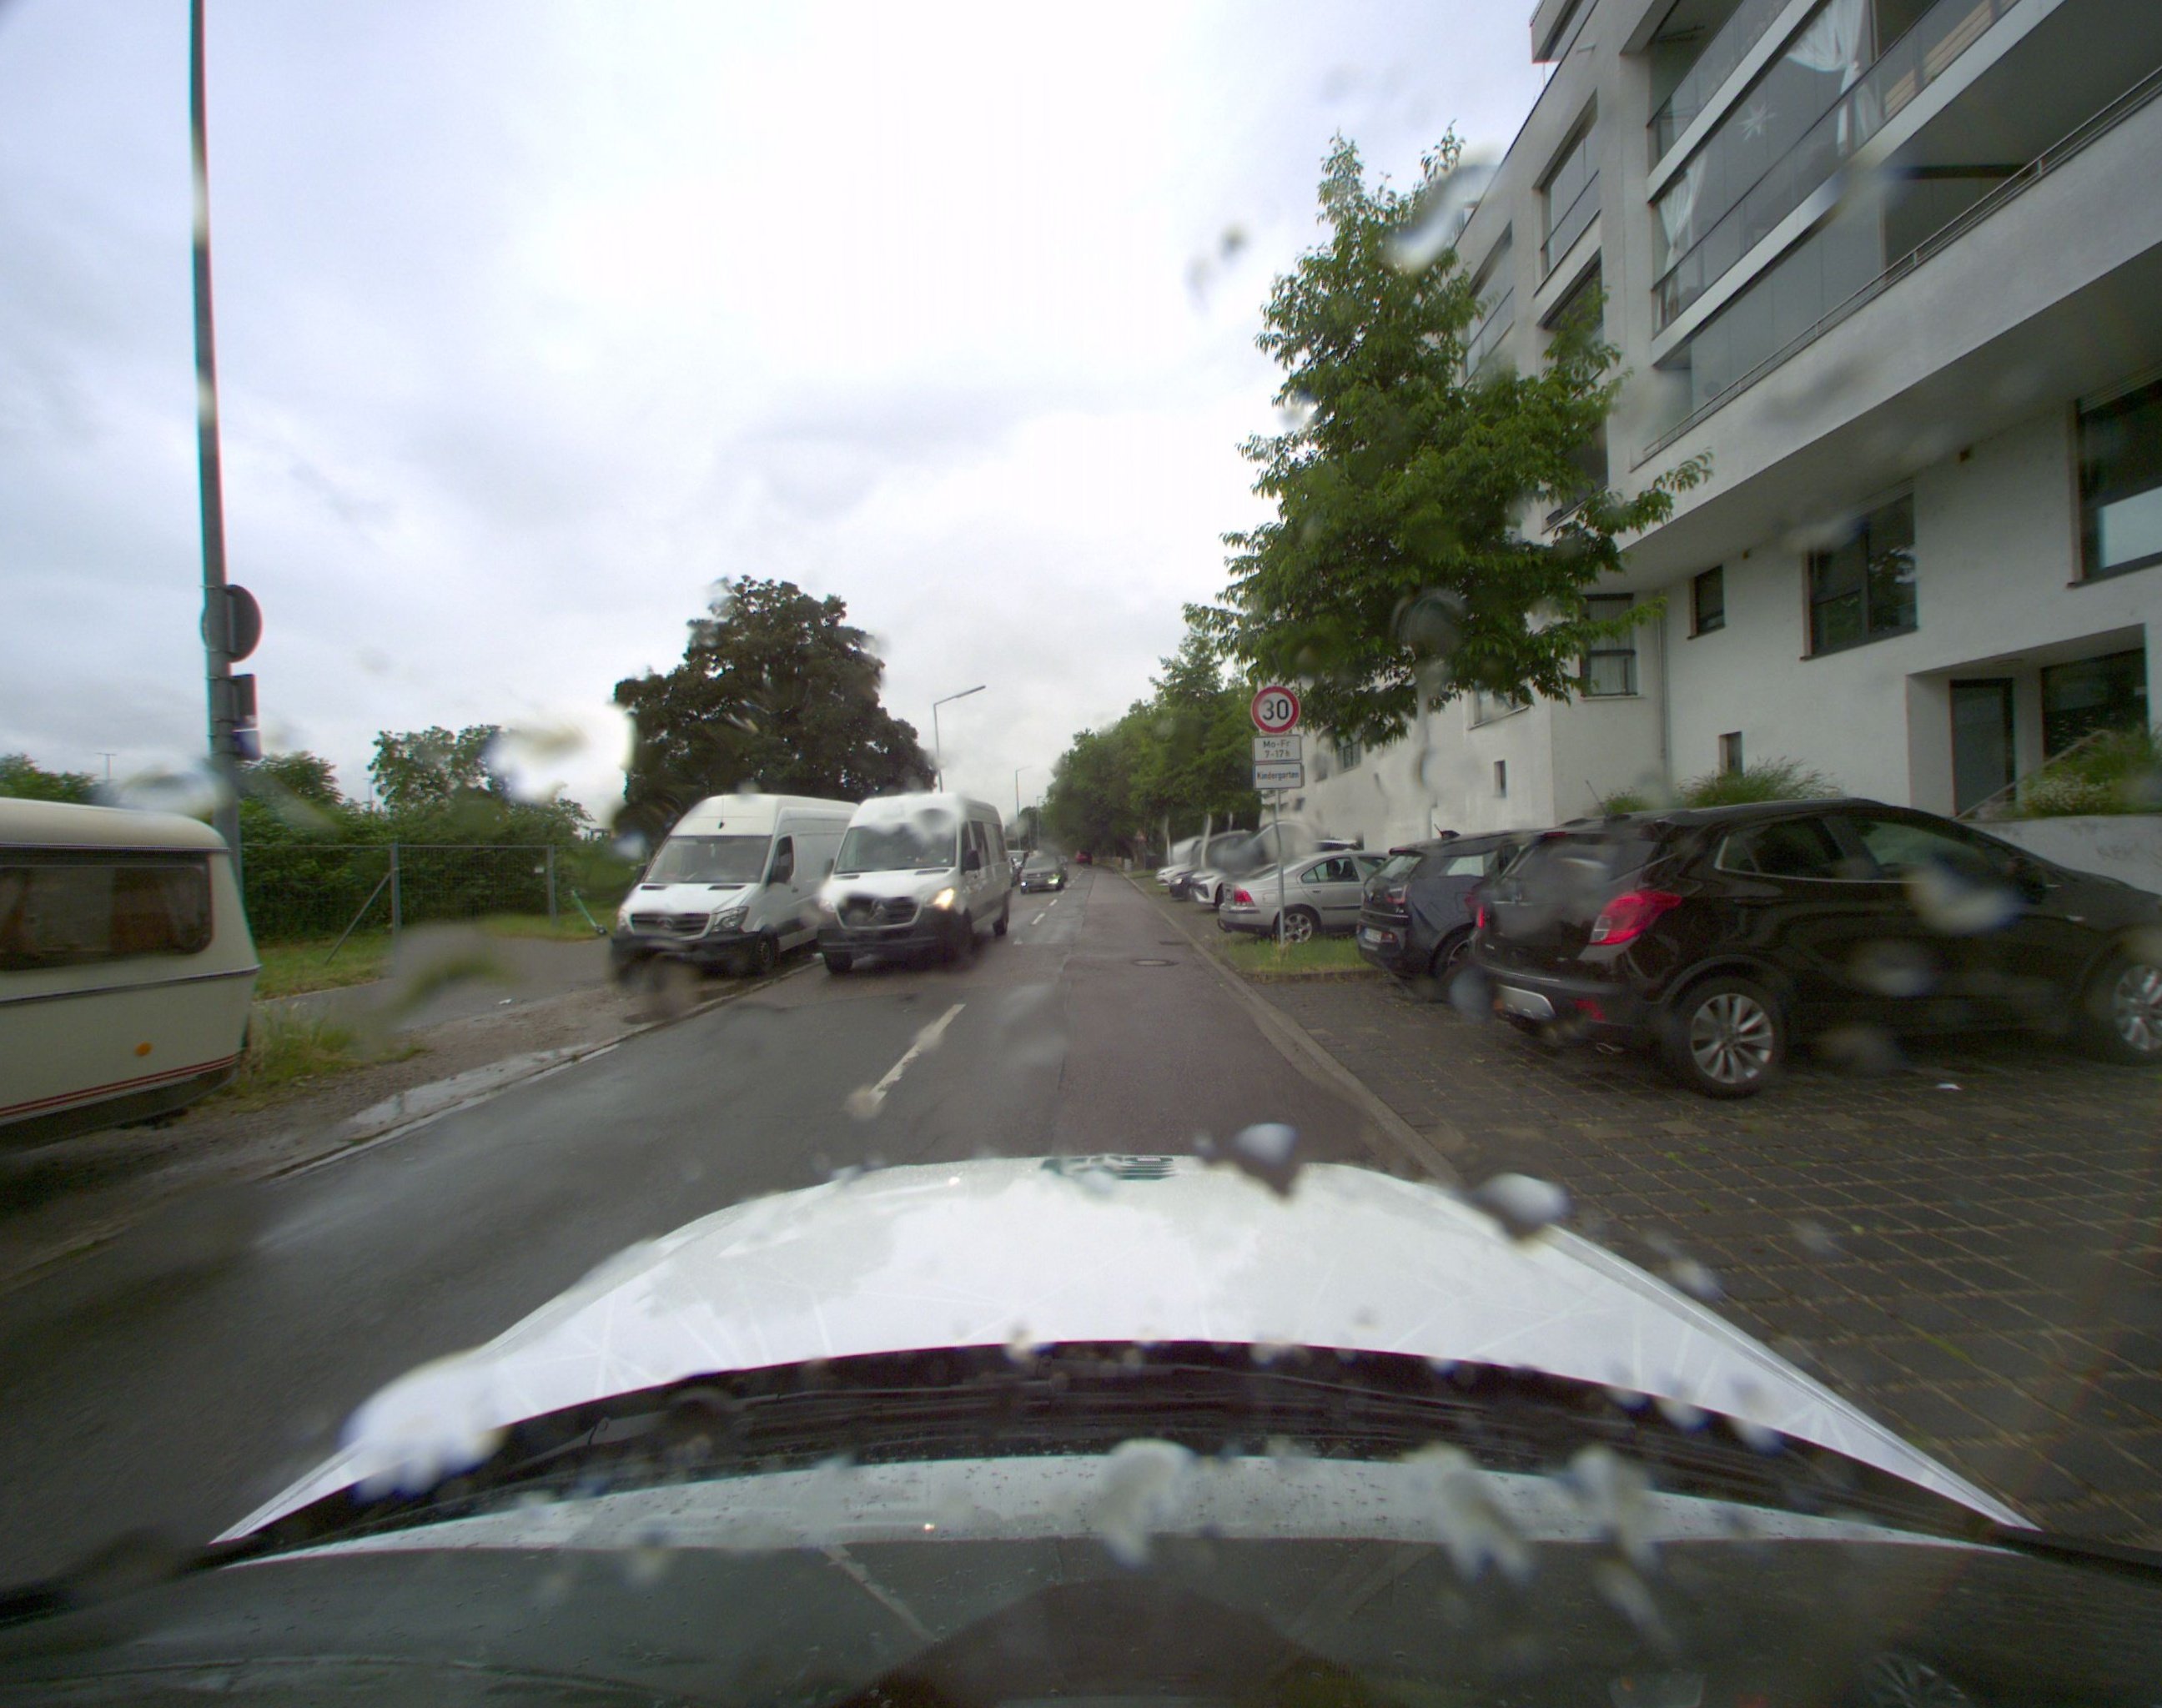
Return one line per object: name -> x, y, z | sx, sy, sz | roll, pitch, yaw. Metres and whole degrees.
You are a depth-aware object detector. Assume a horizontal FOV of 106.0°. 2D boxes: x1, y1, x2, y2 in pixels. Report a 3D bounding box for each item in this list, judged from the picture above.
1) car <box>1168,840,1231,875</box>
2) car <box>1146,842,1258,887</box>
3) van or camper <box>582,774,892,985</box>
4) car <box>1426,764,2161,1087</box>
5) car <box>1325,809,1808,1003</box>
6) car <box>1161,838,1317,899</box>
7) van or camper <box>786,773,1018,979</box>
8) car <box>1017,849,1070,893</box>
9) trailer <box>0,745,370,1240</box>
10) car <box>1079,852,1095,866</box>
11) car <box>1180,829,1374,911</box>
car -> 8.104, 0.249, 55.671 | 3.952, 2.292, 1.786 | -1, 0, 21
car -> 4.834, 0.401, 32.799 | 4.086, 1.575, 1.864 | -2, 0, -6
van or camper -> -5.469, 0.335, 14.713 | 1.986, 2.762, 7.901 | -1, 0, 2
car -> 4.681, 0.365, 5.528 | 3.875, 1.681, 1.861 | -2, 0, -4
car -> 4.761, 0.456, 8.370 | 3.875, 1.600, 1.861 | -2, 0, -4
car -> 4.753, 0.428, 25.022 | 4.373, 1.633, 2.005 | -2, 0, 0
van or camper -> -2.538, 0.261, 13.869 | 1.986, 2.497, 7.182 | -3, 0, 2
car -> -1.578, 0.681, 35.483 | 1.874, 1.757, 4.071 | -2, 0, 2
trailer -> -5.875, 0.636, 2.622 | 2.052, 2.218, 5.794 | -1, 0, 0
car -> 0.816, 0.621, 105.510 | 1.748, 1.706, 4.005 | -3, 0, 4
car -> 4.827, 0.378, 20.517 | 4.373, 1.776, 2.005 | -2, 0, 0
